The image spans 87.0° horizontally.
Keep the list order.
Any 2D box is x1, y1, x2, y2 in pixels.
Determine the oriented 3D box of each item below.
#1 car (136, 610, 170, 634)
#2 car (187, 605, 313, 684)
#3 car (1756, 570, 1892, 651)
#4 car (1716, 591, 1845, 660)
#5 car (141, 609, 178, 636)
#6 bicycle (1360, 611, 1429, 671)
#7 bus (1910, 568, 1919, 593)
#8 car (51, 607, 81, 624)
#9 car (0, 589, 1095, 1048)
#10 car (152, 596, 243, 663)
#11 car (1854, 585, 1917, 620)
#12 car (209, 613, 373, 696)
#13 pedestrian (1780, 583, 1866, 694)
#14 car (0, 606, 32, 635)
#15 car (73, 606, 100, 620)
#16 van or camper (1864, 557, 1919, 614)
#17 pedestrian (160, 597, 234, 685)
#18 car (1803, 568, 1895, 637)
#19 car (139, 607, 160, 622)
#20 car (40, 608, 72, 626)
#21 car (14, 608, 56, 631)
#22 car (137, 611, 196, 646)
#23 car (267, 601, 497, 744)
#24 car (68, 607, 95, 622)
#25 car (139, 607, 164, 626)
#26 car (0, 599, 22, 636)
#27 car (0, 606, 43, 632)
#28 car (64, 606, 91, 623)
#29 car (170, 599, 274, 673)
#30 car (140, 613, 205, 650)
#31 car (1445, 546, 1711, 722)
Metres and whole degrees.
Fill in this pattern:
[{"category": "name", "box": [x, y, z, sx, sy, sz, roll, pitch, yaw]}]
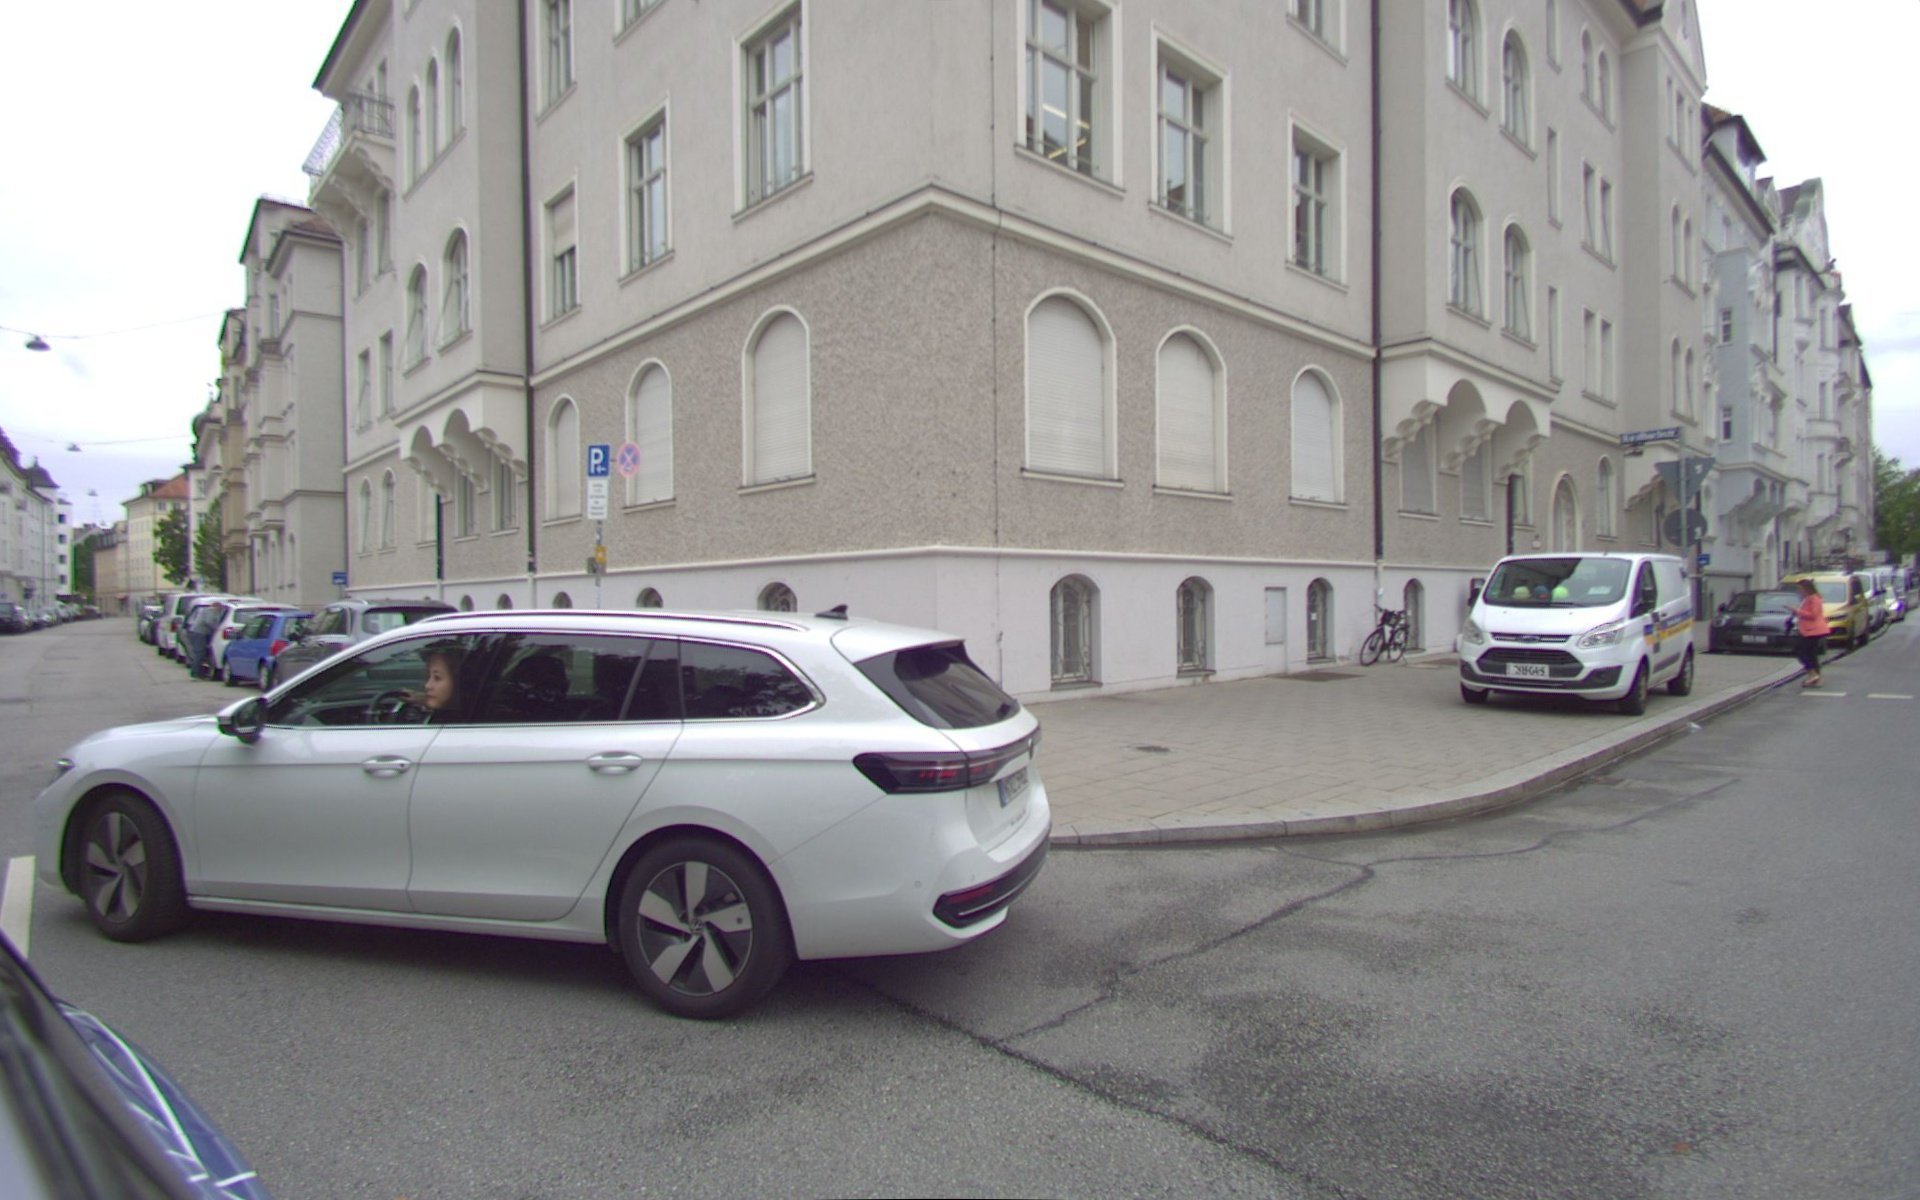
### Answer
[{"category": "car", "box": [-49.409, 1.332, 61.989, 1.602, 1.440, 3.949, 1, -1, -38]}, {"category": "car", "box": [-16.047, 0.921, 22.774, 1.726, 1.614, 4.501, 1, -1, -43]}, {"category": "car", "box": [21.625, 0.239, 25.283, 4.072, 1.852, 2.030, 0, 0, -42]}, {"category": "car", "box": [17.643, 0.493, 21.721, 3.624, 1.356, 1.699, 0, 0, -44]}, {"category": "car", "box": [-45.686, 1.263, 57.720, 1.602, 1.467, 3.948, 1, -1, -39]}, {"category": "bicycle", "box": [8.212, 0.745, 19.102, 1.803, 1.057, 0.492, -1, 0, -43]}, {"category": "bus", "box": [117.364, -2.342, 116.026, 14.345, 2.921, 2.723, -1, 0, -1]}, {"category": "car", "box": [-93.788, 1.657, 106.177, 1.968, 1.606, 4.307, -5, 2, -38]}, {"category": "car", "box": [-1.901, 0.716, 4.741, 4.844, 1.459, 1.882, -1, 0, 14]}, {"category": "car", "box": [-23.977, 0.880, 31.758, 1.833, 1.953, 4.963, 1, -1, -42]}, {"category": "car", "box": [37.711, 0.096, 41.219, 3.486, 1.356, 1.698, 0, 0, -45]}, {"category": "car", "box": [-12.836, 0.970, 19.355, 3.661, 1.425, 1.674, 0, -1, 41]}, {"category": "pedestrian", "box": [13.178, 0.571, 15.486, 0.852, 1.648, 0.726, -1, 0, 29]}, {"category": "car", "box": [-60.882, 1.332, 64.807, 1.970, 1.664, 4.454, -5, 2, -41]}, {"category": "car", "box": [-108.906, 1.599, 126.236, 1.967, 1.606, 4.310, -5, 2, -34]}, {"category": "van or camper", "box": [50.838, -0.801, 54.964, 6.340, 2.935, 2.002, -2, 1, -43]}, {"category": "pedestrian", "box": [-15.883, 0.839, 21.093, 0.862, 1.769, 0.966, -1, 0, -10]}, {"category": "car", "box": [29.219, 0.063, 33.223, 2.125, 2.107, 4.754, -1, 0, 43]}, {"category": "car", "box": [-84.999, 1.531, 106.091, 1.602, 1.542, 3.927, 1, -1, -40]}, {"category": "car", "box": [-87.206, 1.653, 97.671, 1.968, 1.606, 4.307, -5, 2, -38]}, {"category": "car", "box": [-71.542, 1.470, 78.311, 1.968, 1.606, 4.307, -5, 2, -38]}, {"category": "car", "box": [-36.038, 1.257, 45.931, 1.833, 1.474, 4.385, 1, -1, -41]}, {"category": "car", "box": [-7.948, 0.844, 13.706, 1.726, 1.614, 4.501, 1, -1, -43]}, {"category": "car", "box": [-106.078, 1.716, 122.236, 1.968, 1.606, 4.437, -5, 2, -37]}, {"category": "car", "box": [-68.214, 1.374, 85.365, 1.602, 1.542, 3.695, 1, -1, -40]}, {"category": "car", "box": [-54.330, 1.037, 56.991, 1.970, 1.975, 4.439, -5, 2, -41]}, {"category": "car", "box": [-63.840, 1.288, 68.809, 1.969, 1.606, 4.305, -5, 2, -41]}, {"category": "car", "box": [-102.789, 1.682, 117.890, 1.968, 1.694, 4.308, -5, 2, -37]}, {"category": "car", "box": [-19.871, 0.913, 27.151, 1.725, 1.802, 5.043, 1, -1, -42]}, {"category": "car", "box": [-32.757, 1.287, 42.070, 1.833, 1.423, 4.385, 2, -2, -41]}, {"category": "car", "box": [8.255, 0.346, 13.297, 1.926, 1.895, 4.839, -1, 0, 45]}]
